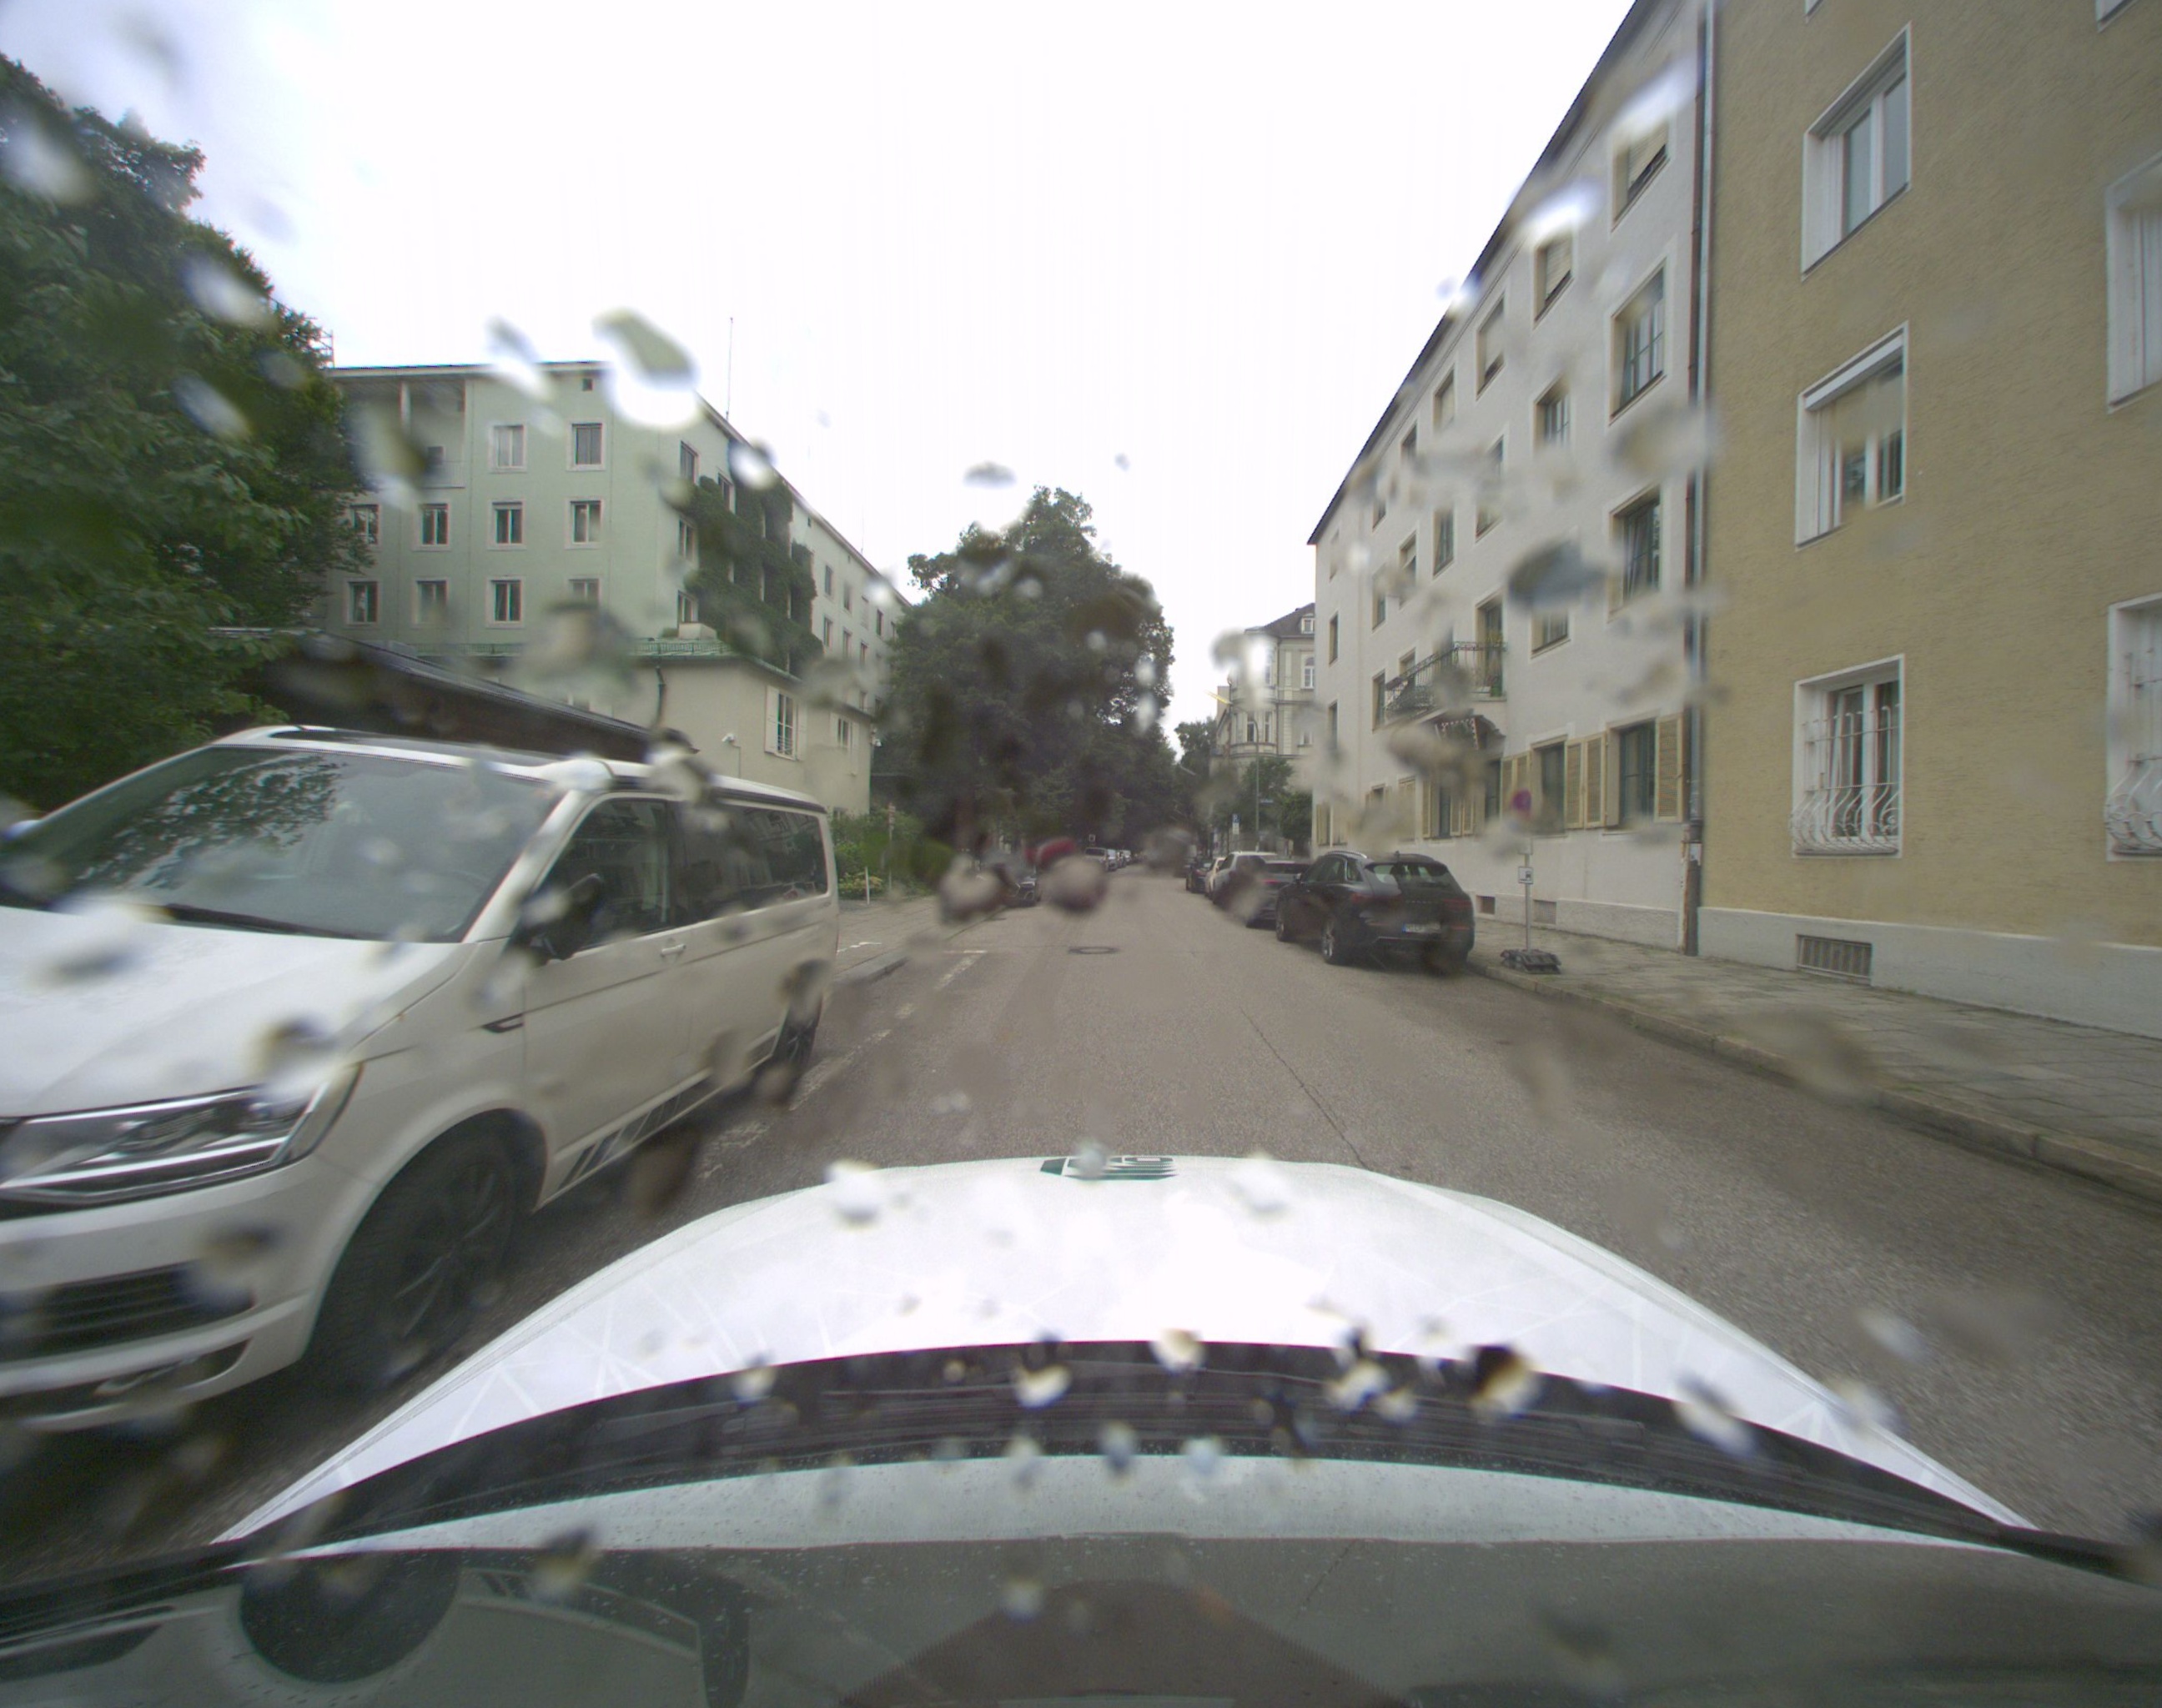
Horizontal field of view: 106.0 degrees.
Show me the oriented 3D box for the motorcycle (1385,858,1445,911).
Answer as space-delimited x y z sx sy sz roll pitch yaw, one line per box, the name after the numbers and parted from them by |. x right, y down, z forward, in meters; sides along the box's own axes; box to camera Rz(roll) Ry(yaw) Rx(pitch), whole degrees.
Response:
8.425 0.745 20.637 0.729 1.239 2.008 2 0 2 | motorcycle

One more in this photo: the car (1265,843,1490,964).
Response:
4.419 0.642 13.076 1.854 1.577 4.899 0 0 0 | car

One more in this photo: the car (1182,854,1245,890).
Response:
5.321 0.704 33.310 1.992 1.319 4.598 -2 0 2 | car

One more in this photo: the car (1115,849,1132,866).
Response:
5.629 0.471 107.294 1.993 2.186 4.701 2 0 4 | car

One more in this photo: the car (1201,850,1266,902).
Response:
5.252 0.713 28.428 1.762 1.546 3.716 5 0 5 | car

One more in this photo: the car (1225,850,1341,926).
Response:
4.435 0.679 18.520 1.830 1.531 4.420 0 0 4 | car

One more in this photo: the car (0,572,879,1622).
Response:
-2.687 0.430 4.118 1.960 1.990 5.151 2 0 0 | car

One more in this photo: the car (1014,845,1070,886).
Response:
-1.591 0.460 34.630 1.879 1.590 4.530 2 0 2 | car

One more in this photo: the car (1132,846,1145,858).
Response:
10.355 -0.392 147.118 2.039 2.154 4.316 2 0 2 | car

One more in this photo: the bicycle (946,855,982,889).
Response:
-4.089 0.601 28.632 0.645 1.130 2.053 0 0 9 | bicycle

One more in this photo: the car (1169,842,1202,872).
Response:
7.925 0.251 62.336 2.194 2.208 4.859 0 -1 3 | car

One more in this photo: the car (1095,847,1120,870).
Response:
2.445 0.388 74.390 2.175 1.956 5.170 2 0 2 | car

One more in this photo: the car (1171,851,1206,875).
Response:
7.268 0.590 55.390 2.260 1.546 4.596 0 -1 7 | car

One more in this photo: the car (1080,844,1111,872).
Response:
1.172 0.314 62.716 2.239 1.956 5.457 2 0 2 | car

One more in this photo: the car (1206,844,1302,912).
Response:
4.935 0.628 23.812 1.985 1.707 4.538 3 0 3 | car

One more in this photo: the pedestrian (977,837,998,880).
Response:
-4.137 0.211 36.053 0.709 1.852 0.797 2 -1 3 | pedestrian

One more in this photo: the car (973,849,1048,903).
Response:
-2.029 0.602 24.896 1.801 1.402 4.923 2 0 0 | car

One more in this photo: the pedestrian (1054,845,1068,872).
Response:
-1.180 0.285 48.583 0.711 1.548 0.752 3 0 -1 | pedestrian

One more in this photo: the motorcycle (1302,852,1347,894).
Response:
8.750 0.651 29.428 0.854 1.433 2.707 1 0 1 | motorcycle

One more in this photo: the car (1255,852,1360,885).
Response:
11.562 0.712 41.749 4.887 1.531 1.915 0 2 2 | car

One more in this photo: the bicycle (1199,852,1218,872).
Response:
9.650 0.590 61.704 0.708 1.515 2.030 1 0 -12 | bicycle
